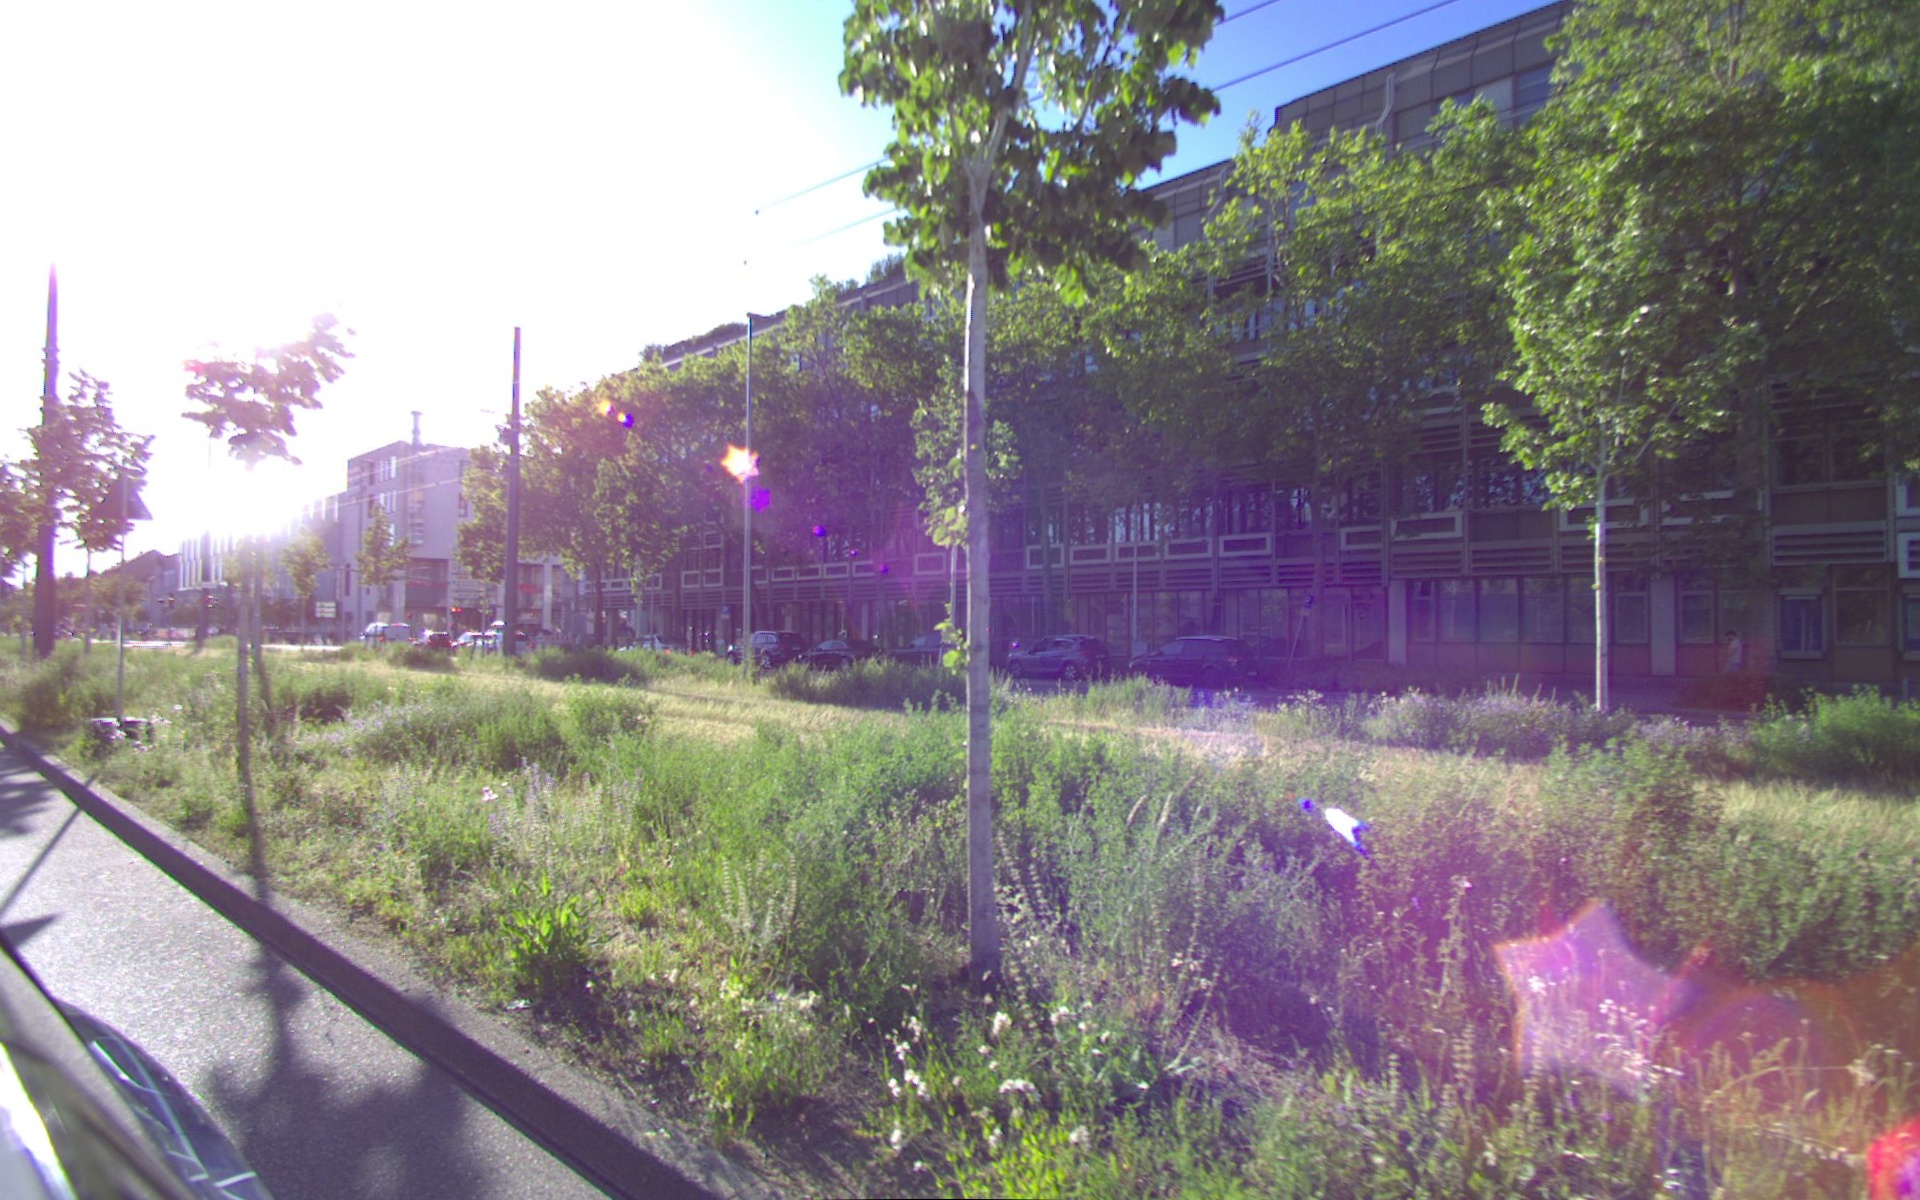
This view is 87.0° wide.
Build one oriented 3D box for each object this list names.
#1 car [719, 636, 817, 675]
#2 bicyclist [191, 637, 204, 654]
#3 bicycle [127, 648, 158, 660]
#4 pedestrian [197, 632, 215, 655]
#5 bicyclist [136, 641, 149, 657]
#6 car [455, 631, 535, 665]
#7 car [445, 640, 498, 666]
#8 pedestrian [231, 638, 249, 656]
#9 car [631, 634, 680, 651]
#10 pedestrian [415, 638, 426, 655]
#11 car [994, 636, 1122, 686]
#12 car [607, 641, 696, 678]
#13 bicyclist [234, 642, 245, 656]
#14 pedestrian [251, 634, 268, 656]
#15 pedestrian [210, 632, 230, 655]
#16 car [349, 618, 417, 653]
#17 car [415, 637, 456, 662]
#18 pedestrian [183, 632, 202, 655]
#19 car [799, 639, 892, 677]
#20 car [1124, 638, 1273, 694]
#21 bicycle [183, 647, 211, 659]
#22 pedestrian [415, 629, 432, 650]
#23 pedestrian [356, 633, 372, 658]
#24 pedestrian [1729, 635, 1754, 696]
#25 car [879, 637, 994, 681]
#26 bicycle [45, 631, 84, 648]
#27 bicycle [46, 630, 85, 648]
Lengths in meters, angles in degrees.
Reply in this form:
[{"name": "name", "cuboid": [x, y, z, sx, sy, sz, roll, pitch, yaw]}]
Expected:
[{"name": "car", "cuboid": [-9.153, 2.609, 47.988, 4.865, 1.693, 1.973, -1, -1, 41]}, {"name": "bicyclist", "cuboid": [-68.809, 4.099, 91.321, 0.927, 1.556, 0.650, 1, -2, -42]}, {"name": "bicycle", "cuboid": [-71.713, 4.763, 88.788, 2.045, 0.986, 0.806, 1, -2, -42]}, {"name": "pedestrian", "cuboid": [-69.903, 4.046, 93.855, 0.892, 2.140, 0.940, -1, -2, 22]}, {"name": "bicyclist", "cuboid": [-71.754, 4.282, 88.783, 0.830, 1.412, 0.806, 1, -2, -42]}, {"name": "car", "cuboid": [-22.975, 2.354, 49.922, 4.691, 1.606, 1.820, -2, -3, 42]}, {"name": "car", "cuboid": [-29.198, 3.143, 60.431, 1.691, 1.464, 3.578, 6, -6, -44]}, {"name": "pedestrian", "cuboid": [-66.916, 4.382, 94.074, 0.994, 1.663, 0.948, 0, -2, 2]}, {"name": "car", "cuboid": [-32.181, 4.509, 106.870, 4.478, 1.725, 2.129, 2, -2, -38]}, {"name": "pedestrian", "cuboid": [-53.452, 4.596, 100.186, 0.745, 1.753, 0.754, 2, -3, -44]}, {"name": "car", "cuboid": [3.448, 2.165, 36.268, 1.888, 1.645, 4.364, 5, -5, -45]}, {"name": "car", "cuboid": [-13.829, 2.633, 45.297, 4.583, 1.527, 1.739, -1, -4, 43]}, {"name": "bicyclist", "cuboid": [-68.873, 4.670, 96.786, 0.827, 1.367, 0.807, 1, -2, -35]}, {"name": "pedestrian", "cuboid": [-67.121, 4.318, 96.977, 0.912, 2.029, 1.014, -1, -3, 27]}, {"name": "pedestrian", "cuboid": [-68.184, 4.013, 93.244, 1.057, 2.145, 1.088, -1, -2, 26]}, {"name": "car", "cuboid": [-36.073, 2.250, 63.204, 2.233, 2.029, 5.712, 5, -5, -45]}, {"name": "car", "cuboid": [-34.290, 3.248, 66.092, 1.815, 1.497, 3.889, 5, -6, -35]}, {"name": "pedestrian", "cuboid": [-70.721, 3.991, 93.255, 0.890, 2.140, 0.942, 0, -2, 14]}, {"name": "car", "cuboid": [-4.967, 2.476, 43.675, 1.970, 1.532, 4.003, 1, -2, -44]}, {"name": "car", "cuboid": [7.515, 2.053, 32.130, 4.278, 1.608, 1.840, -1, -4, 44]}, {"name": "bicycle", "cuboid": [-68.795, 4.772, 91.300, 1.948, 1.004, 0.650, 1, -2, -42]}, {"name": "pedestrian", "cuboid": [-40.394, 2.942, 76.156, 0.899, 1.561, 0.910, -2, -2, 44]}, {"name": "pedestrian", "cuboid": [-42.405, 3.233, 72.048, 0.857, 1.757, 0.729, -2, -2, 41]}, {"name": "pedestrian", "cuboid": [20.304, 1.691, 26.299, 0.447, 1.573, 0.404, -2, -3, 43]}, {"name": "car", "cuboid": [-0.973, 2.292, 40.079, 4.621, 1.569, 1.725, -1, -1, 42]}, {"name": "bicycle", "cuboid": [-56.641, 2.495, 63.989, 0.652, 1.102, 1.774, -2, -3, 44]}, {"name": "bicycle", "cuboid": [-57.163, 2.518, 64.702, 0.626, 1.125, 1.790, -2, -3, 43]}]
